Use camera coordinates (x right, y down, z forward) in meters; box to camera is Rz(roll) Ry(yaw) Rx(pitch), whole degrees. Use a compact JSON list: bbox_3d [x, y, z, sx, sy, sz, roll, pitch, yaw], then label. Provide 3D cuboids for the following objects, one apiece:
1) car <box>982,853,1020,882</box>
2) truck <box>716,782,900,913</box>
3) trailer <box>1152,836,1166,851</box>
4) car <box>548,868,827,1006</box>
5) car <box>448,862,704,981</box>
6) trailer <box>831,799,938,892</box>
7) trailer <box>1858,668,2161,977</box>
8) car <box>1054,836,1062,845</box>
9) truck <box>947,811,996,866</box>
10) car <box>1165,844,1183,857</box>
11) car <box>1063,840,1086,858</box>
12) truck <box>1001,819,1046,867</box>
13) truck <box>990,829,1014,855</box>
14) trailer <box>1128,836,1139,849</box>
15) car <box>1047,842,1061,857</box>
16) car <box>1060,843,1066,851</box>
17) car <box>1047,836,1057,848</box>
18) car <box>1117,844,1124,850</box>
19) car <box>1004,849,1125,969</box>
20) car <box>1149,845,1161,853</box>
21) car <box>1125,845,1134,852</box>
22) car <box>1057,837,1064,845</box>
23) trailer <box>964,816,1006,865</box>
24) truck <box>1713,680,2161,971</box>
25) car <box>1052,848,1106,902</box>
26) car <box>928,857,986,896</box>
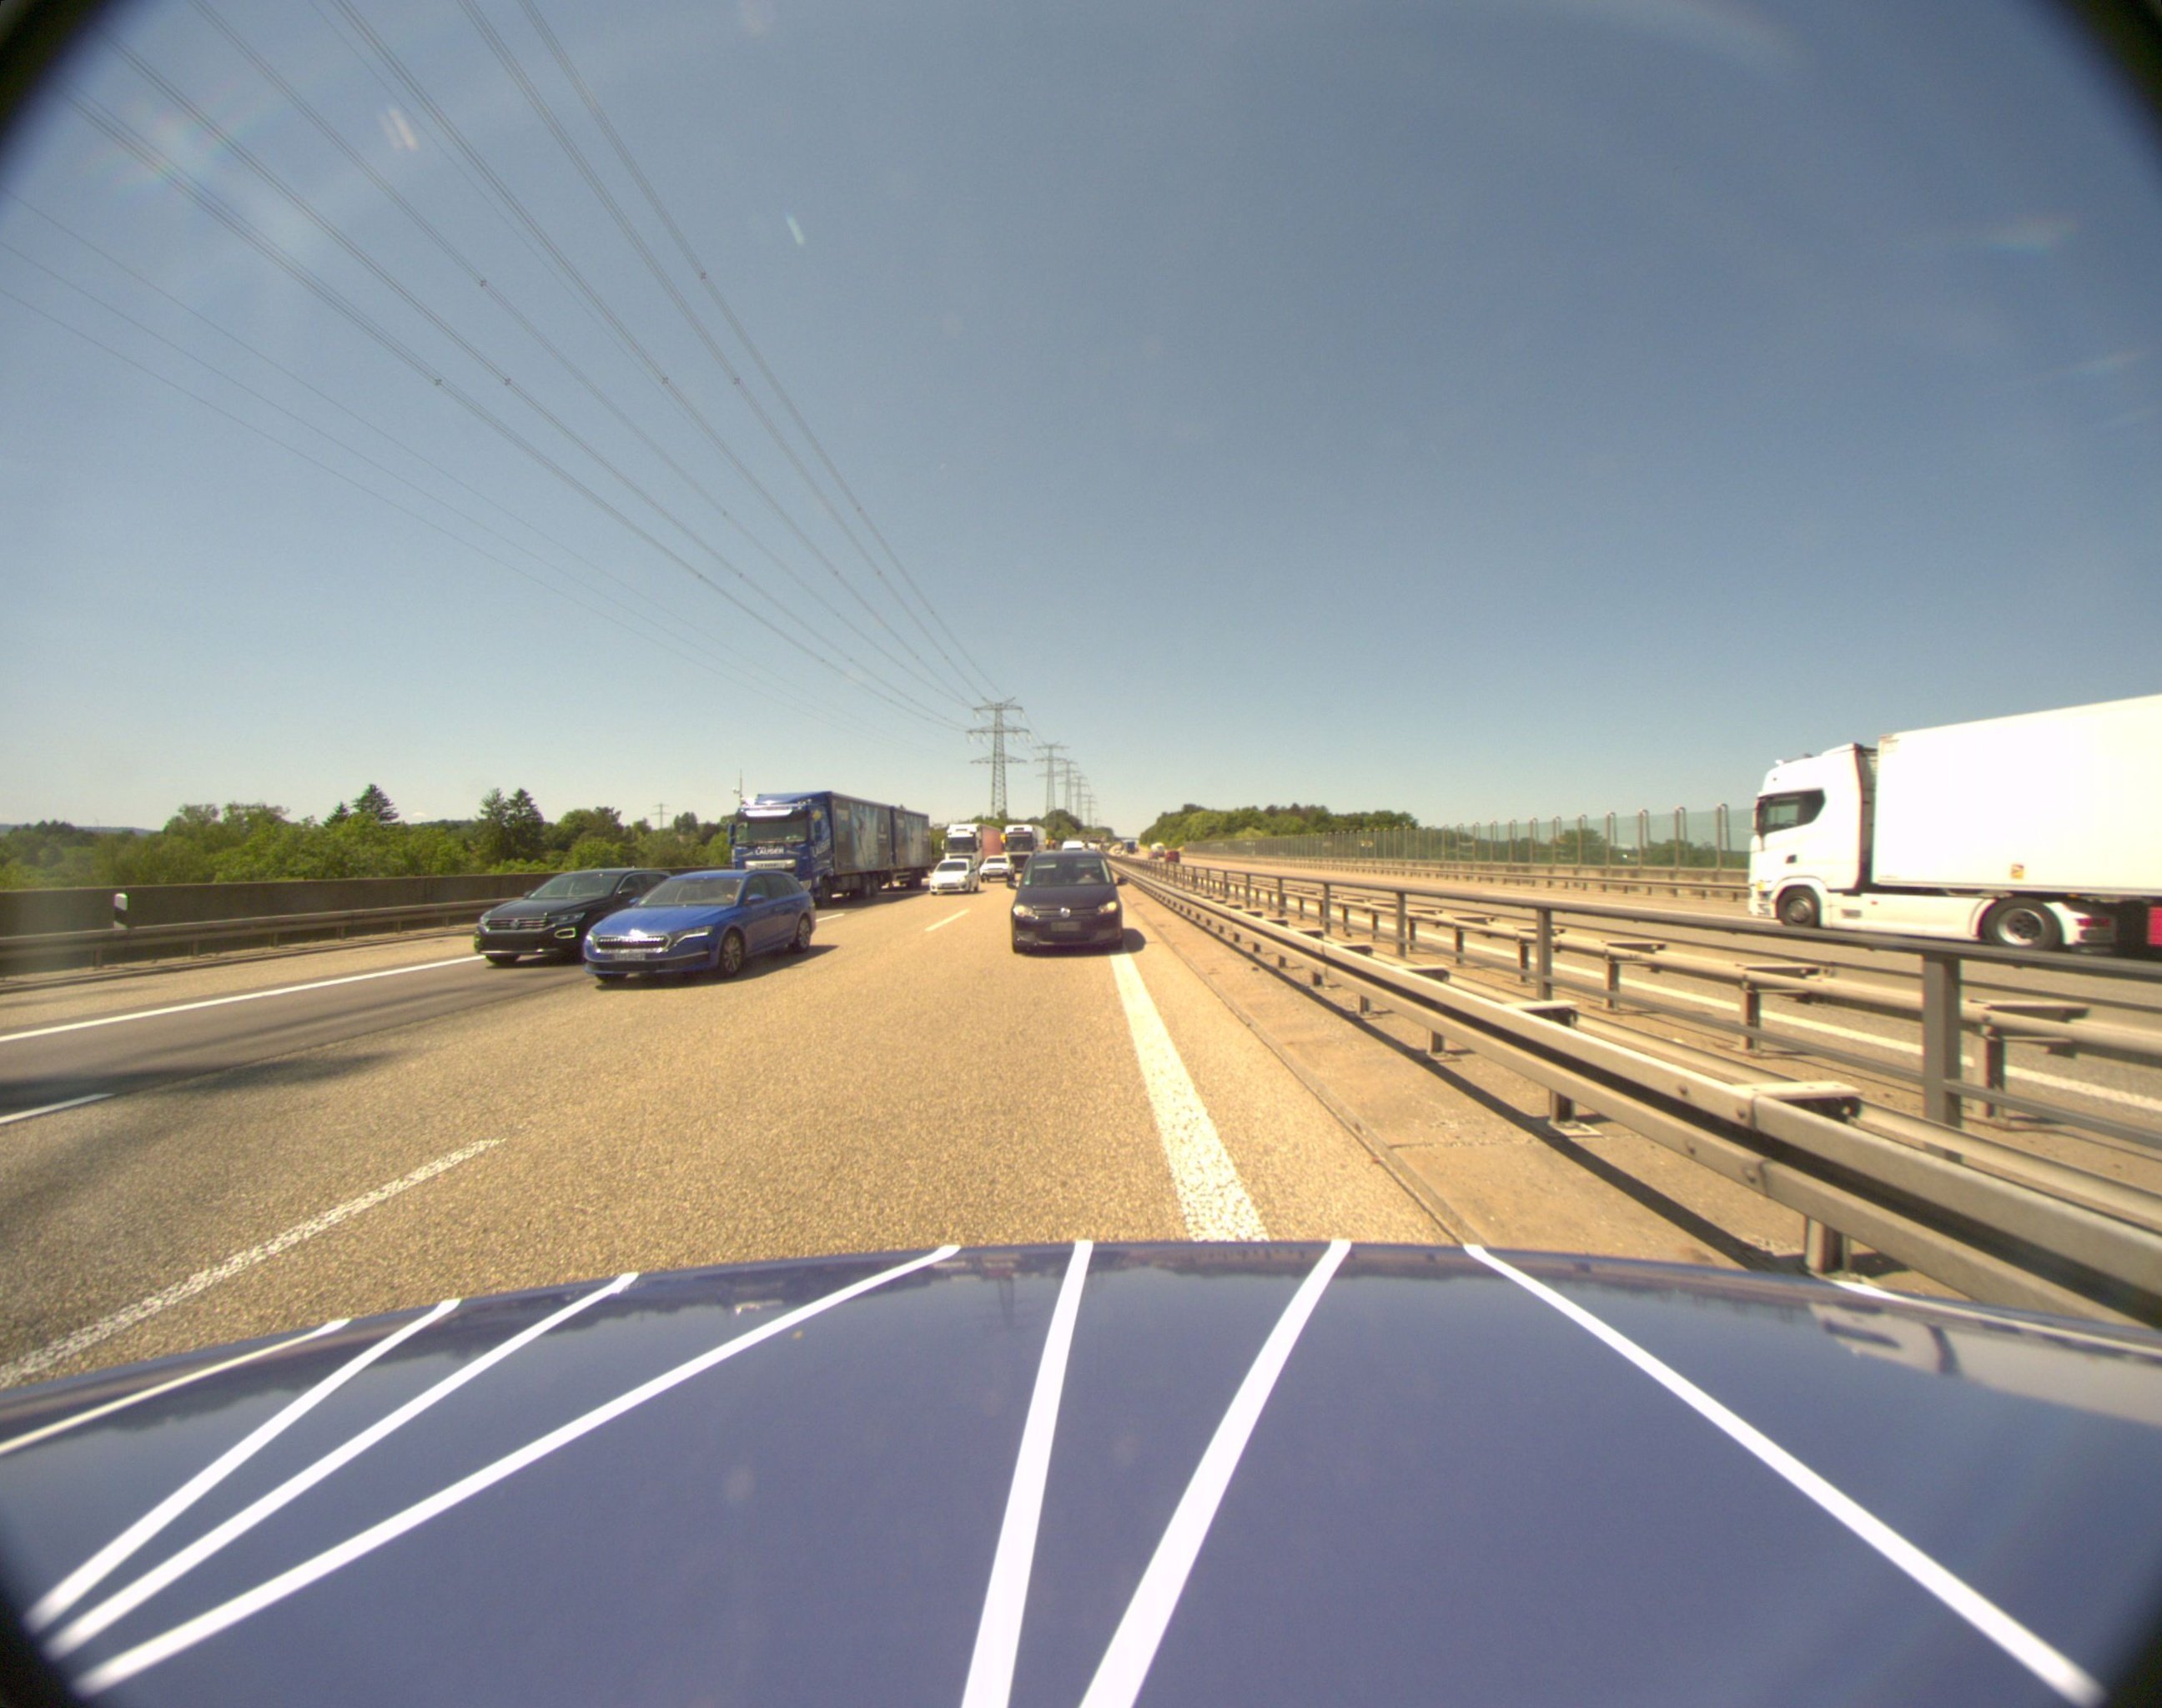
[{"bbox_3d":[-4.696,0.771,45.097,1.712,1.501,4.144,-2,1,1],"label":"car"},{"bbox_3d":[-9.662,-0.285,28.669,2.859,3.927,10.392,-2,1,1],"label":"truck"},{"bbox_3d":[18.892,-2.645,184.638,2.505,3.520,10.901,0,1,1],"label":"trailer"},{"bbox_3d":[-5.518,1.053,11.472,1.712,1.443,4.562,-2,1,1],"label":"car"},{"bbox_3d":[-8.702,1.056,13.628,1.712,1.645,4.117,-2,1,1],"label":"car"},{"bbox_3d":[-9.567,-0.441,38.194,2.835,4.066,8.636,-2,1,1],"label":"trailer"},{"bbox_3d":[16.399,-0.387,7.803,2.913,4.283,13.659,0,1,1],"label":"trailer"},{"bbox_3d":[-5.663,-3.157,184.145,1.704,2.116,3.999,1,1,1],"label":"car"},{"bbox_3d":[-8.652,-1.231,60.911,2.608,3.965,8.263,-2,1,0],"label":"truck"},{"bbox_3d":[13.269,-0.522,108.764,1.844,1.812,4.746,0,1,-1],"label":"car"},{"bbox_3d":[-0.564,-0.493,68.587,1.924,1.501,3.996,-2,1,1],"label":"car"},{"bbox_3d":[-4.776,-0.952,64.912,2.849,3.804,8.264,-2,1,2],"label":"truck"},{"bbox_3d":[-9.581,-1.480,92.576,2.251,2.966,6.242,1,1,-1],"label":"truck"},{"bbox_3d":[16.928,-3.652,246.036,2.711,4.141,12.047,0,1,0],"label":"trailer"},{"bbox_3d":[-3.805,-0.647,108.398,1.704,2.116,3.999,1,1,1],"label":"car"},{"bbox_3d":[-5.118,-1.971,215.287,1.704,2.116,3.999,1,1,1],"label":"car"},{"bbox_3d":[-5.920,-2.439,154.203,1.704,2.525,3.999,1,1,1],"label":"car"},{"bbox_3d":[12.420,-2.239,238.343,1.811,1.630,3.999,1,1,-1],"label":"car"},{"bbox_3d":[-0.231,0.795,13.162,1.713,1.669,3.931,-2,1,0],"label":"car"},{"bbox_3d":[13.903,-0.949,143.134,1.876,1.434,4.384,1,1,0],"label":"car"},{"bbox_3d":[11.751,-1.403,185.562,1.876,1.521,3.608,4,1,0],"label":"car"},{"bbox_3d":[-5.224,-3.333,193.801,1.704,2.116,3.999,1,1,1],"label":"car"},{"bbox_3d":[-8.649,-1.207,69.575,2.608,4.094,9.083,-2,1,0],"label":"trailer"},{"bbox_3d":[16.547,-0.452,14.641,2.936,4.269,6.857,1,1,1],"label":"truck"},{"bbox_3d":[-0.066,0.672,27.104,1.713,1.669,3.931,-2,1,0],"label":"car"},{"bbox_3d":[-5.289,0.928,32.834,1.712,1.443,4.144,-2,1,1],"label":"car"}]
